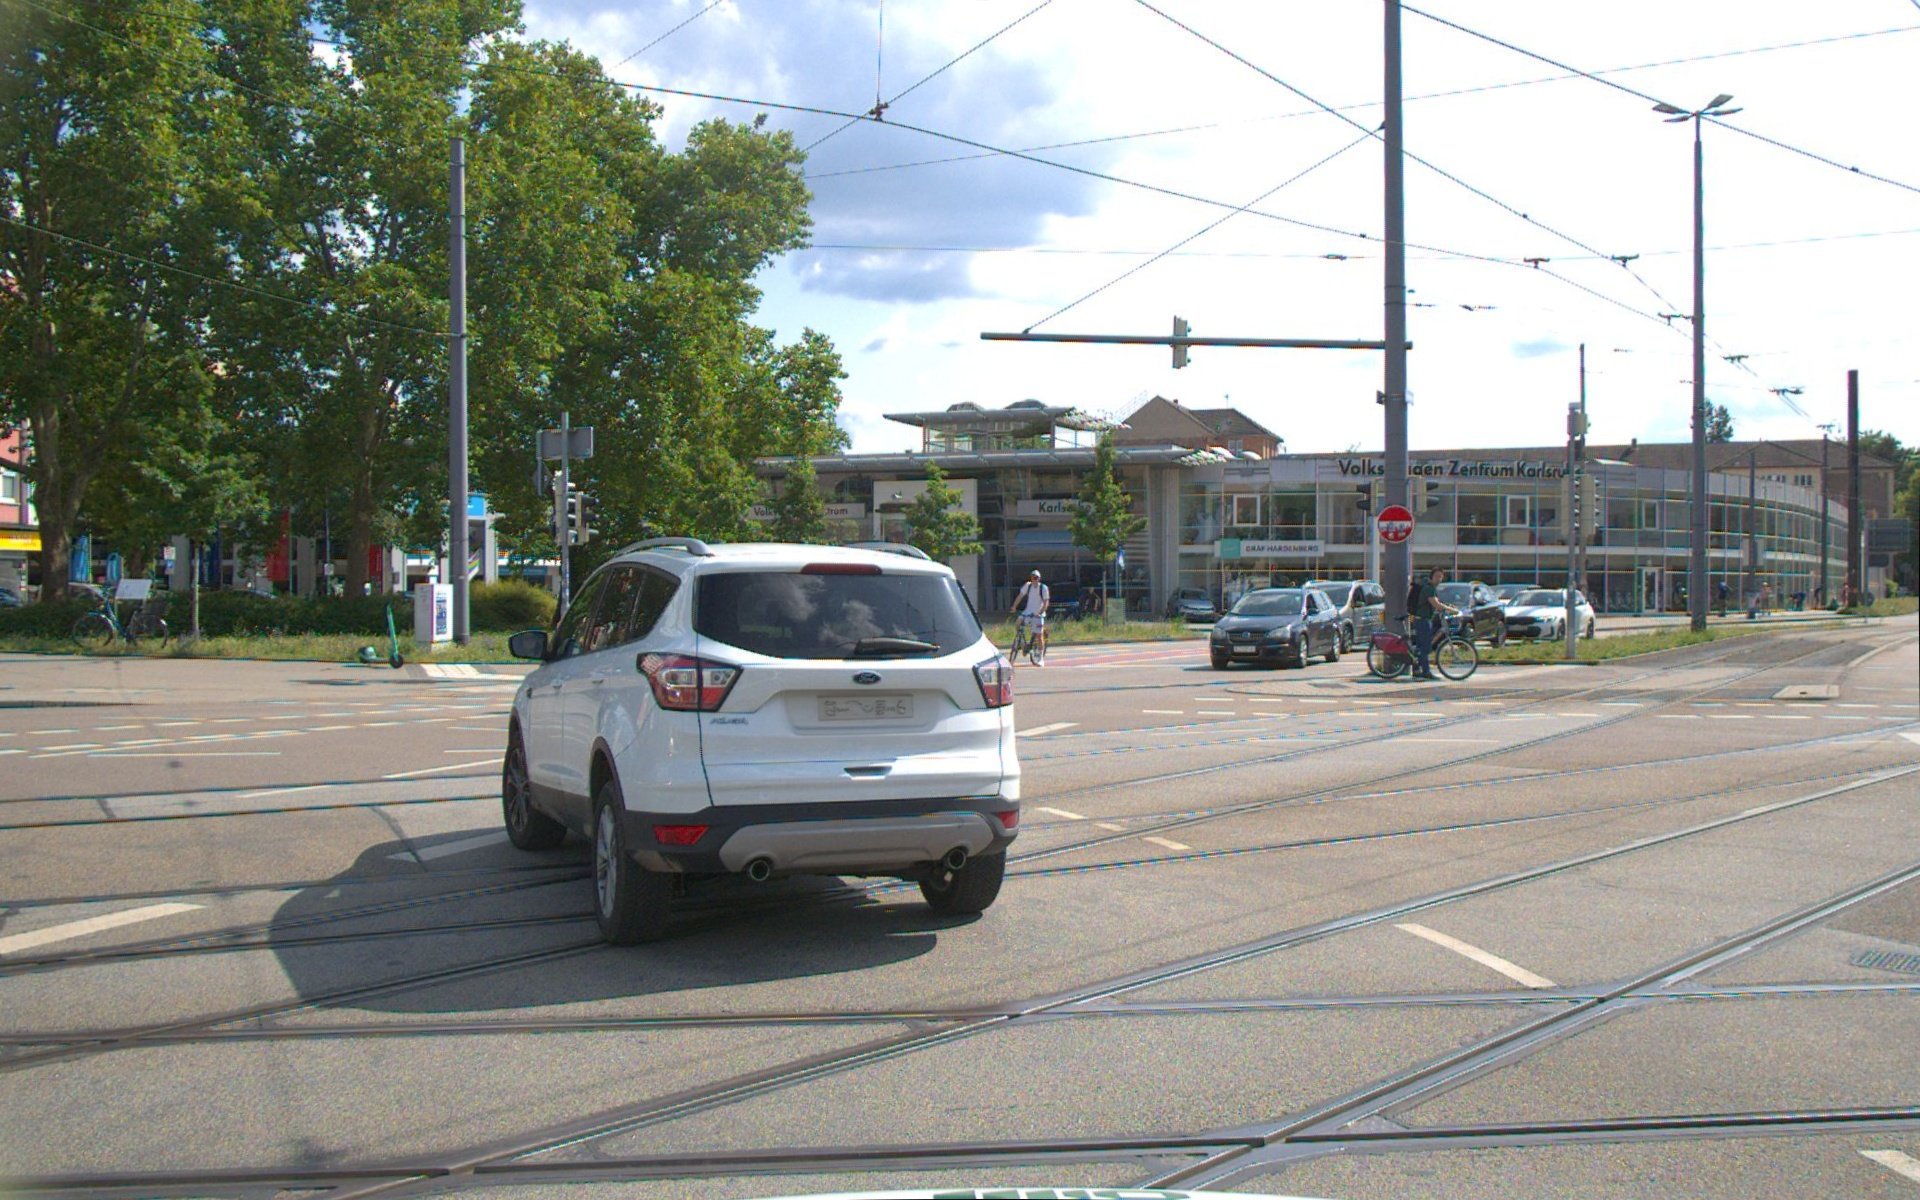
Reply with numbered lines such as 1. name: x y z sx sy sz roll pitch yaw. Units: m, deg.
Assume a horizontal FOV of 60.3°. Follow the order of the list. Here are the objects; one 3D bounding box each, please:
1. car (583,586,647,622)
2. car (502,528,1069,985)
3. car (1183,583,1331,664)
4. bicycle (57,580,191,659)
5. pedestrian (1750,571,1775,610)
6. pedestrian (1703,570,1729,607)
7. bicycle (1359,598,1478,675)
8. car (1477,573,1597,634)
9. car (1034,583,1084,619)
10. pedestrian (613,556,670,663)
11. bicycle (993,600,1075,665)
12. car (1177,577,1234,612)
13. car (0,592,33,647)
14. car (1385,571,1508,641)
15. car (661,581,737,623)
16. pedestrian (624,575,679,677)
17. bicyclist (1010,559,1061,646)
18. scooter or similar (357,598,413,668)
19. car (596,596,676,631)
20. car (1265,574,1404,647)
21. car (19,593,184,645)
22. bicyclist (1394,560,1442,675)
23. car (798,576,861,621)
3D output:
1. car: -18.026 0.231 86.343 1.822 1.821 3.947 0 -1 -37
2. car: -1.124 0.562 8.297 1.802 1.693 3.928 -1 0 -23
3. car: 5.620 0.415 30.991 1.704 1.397 3.637 -1 0 28
4. bicycle: -15.895 0.359 31.475 2.124 1.439 0.812 1 1 -1
5. pedestrian: 41.293 -0.484 85.053 0.869 1.956 0.864 1 0 -43
6. pedestrian: 37.533 -0.569 82.152 0.868 1.767 0.865 1 0 -40
7. bicycle: 7.206 0.556 25.988 1.742 1.145 0.640 1 1 22
8. car: 14.987 0.076 42.867 1.868 1.487 3.953 -1 0 36
9. car: 4.522 0.061 74.838 1.779 1.560 3.920 -2 -1 10
10. pedestrian: -5.424 0.162 28.212 0.907 1.774 0.588 2 0 -11
11. bicycle: 1.491 0.621 32.850 0.745 1.213 2.147 -1 0 28
12. car: 11.720 -0.242 78.856 1.781 1.560 3.916 -2 -1 22
13. car: -26.210 0.516 42.952 1.865 1.438 4.001 -1 -1 3
14. car: 11.006 0.114 37.268 1.658 1.487 3.959 -1 0 32
15. car: -12.911 0.113 82.205 1.925 1.971 5.072 -2 -1 14
16. pedestrian: -5.487 0.455 29.467 0.907 1.774 0.588 2 0 -10
17. bicyclist: 1.505 0.053 32.889 0.745 1.712 0.759 -1 0 29
18. scooter or similar: -10.417 0.598 29.963 1.153 1.214 0.397 2 0 40
19. car: -17.798 0.742 90.878 3.905 1.821 1.842 -1 -1 22
20. car: 8.795 0.214 38.610 1.708 1.600 3.984 -1 0 36
21. car: -23.614 0.529 45.527 3.902 1.350 1.634 -1 -1 12
22. bicyclist: 7.208 0.260 26.017 0.646 1.768 0.640 1 1 22
23. car: -6.238 -0.031 79.332 1.951 2.049 4.234 -2 -1 10
